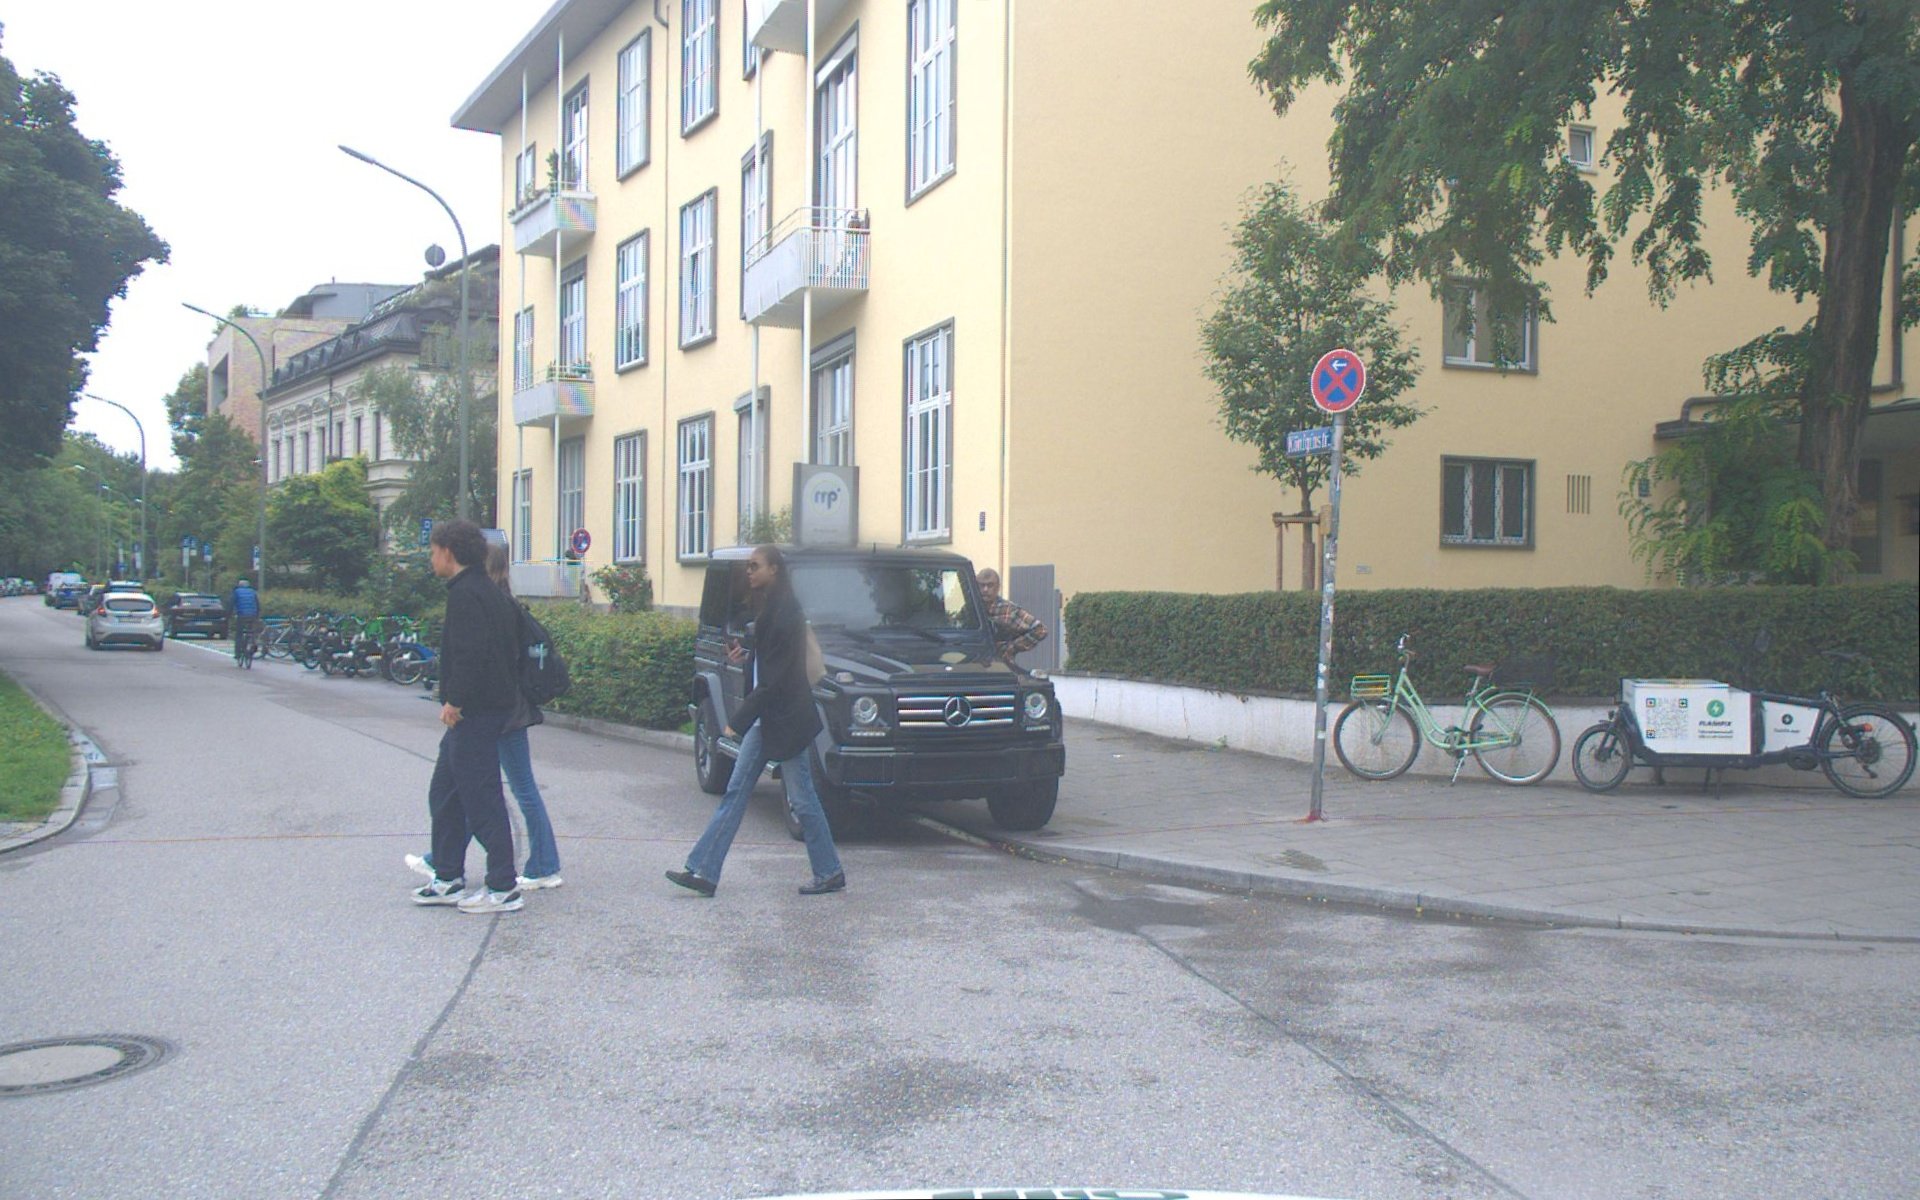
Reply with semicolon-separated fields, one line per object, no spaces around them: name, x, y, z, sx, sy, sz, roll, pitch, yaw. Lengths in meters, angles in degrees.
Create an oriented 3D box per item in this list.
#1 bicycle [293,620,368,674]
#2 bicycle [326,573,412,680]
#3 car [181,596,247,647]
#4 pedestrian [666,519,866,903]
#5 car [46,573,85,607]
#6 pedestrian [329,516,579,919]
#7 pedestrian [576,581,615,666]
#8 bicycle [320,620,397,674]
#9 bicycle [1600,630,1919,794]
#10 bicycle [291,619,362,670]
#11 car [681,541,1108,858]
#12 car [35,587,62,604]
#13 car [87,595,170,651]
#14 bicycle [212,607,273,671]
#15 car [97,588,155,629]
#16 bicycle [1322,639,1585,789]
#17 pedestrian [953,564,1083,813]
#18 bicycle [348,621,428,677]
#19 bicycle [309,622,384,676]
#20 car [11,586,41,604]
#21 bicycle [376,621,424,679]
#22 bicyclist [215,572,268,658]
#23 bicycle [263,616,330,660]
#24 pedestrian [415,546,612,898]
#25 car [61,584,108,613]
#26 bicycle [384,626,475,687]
bicycle;-12.891;0.957;33.896;0.400;1.032;1.535;-1;1;28
bicycle;-11.683;0.505;32.754;0.447;2.049;1.673;-1;1;32
car;-24.207;0.671;53.617;1.630;1.585;3.523;0;0;-30
pedestrian;-1.028;0.543;8.660;0.839;1.890;0.761;-1;0;-23
car;-54.201;-0.573;100.159;2.044;2.000;4.928;0;0;-29
pedestrian;-2.406;0.539;7.940;0.969;1.841;0.660;0;0;4
pedestrian;-7.503;0.470;34.065;0.623;1.713;0.692;-1;0;-27
bicycle;-12.085;0.934;33.270;0.401;1.032;1.534;-1;1;32
bicycle;5.880;0.802;12.129;2.121;1.135;0.641;0;0;8
bicycle;-13.607;0.952;35.577;0.400;1.032;1.535;-1;1;28
car;-0.727;0.585;12.504;1.847;1.920;4.589;0;0;-21
car;-93.549;-0.461;169.751;1.967;1.628;4.434;0;0;-24
car;-22.075;0.575;43.848;1.729;1.431;3.688;0;0;-31
bicycle;-15.203;0.806;35.027;0.911;1.274;2.297;0;0;-31
car;-35.262;0.331;69.850;1.777;1.709;3.954;0;0;-33
bicycle;3.880;0.884;13.091;1.910;1.104;0.527;-2;-2;35
pedestrian;0.418;0.634;12.424;0.832;1.788;0.952;0;0;-7
bicycle;-11.240;0.957;32.540;0.360;1.032;1.531;-1;1;37
bicycle;-12.464;0.981;33.649;0.400;1.032;1.535;-1;1;28
car;-87.974;-0.486;155.798;1.967;1.628;4.435;0;0;-23
bicycle;-10.671;0.939;31.546;0.358;1.032;1.538;-1;1;0
bicyclist;-15.248;0.309;35.084;0.905;1.795;1.202;0;0;-31
bicycle;-16.483;0.939;41.089;0.402;1.032;1.529;0;1;41
pedestrian;-2.341;0.615;8.751;0.809;1.776;0.741;0;0;3
car;-48.992;-0.087;92.486;1.975;1.628;4.205;0;0;-33
bicycle;-9.602;1.010;29.949;1.519;1.032;0.363;-1;1;-35
